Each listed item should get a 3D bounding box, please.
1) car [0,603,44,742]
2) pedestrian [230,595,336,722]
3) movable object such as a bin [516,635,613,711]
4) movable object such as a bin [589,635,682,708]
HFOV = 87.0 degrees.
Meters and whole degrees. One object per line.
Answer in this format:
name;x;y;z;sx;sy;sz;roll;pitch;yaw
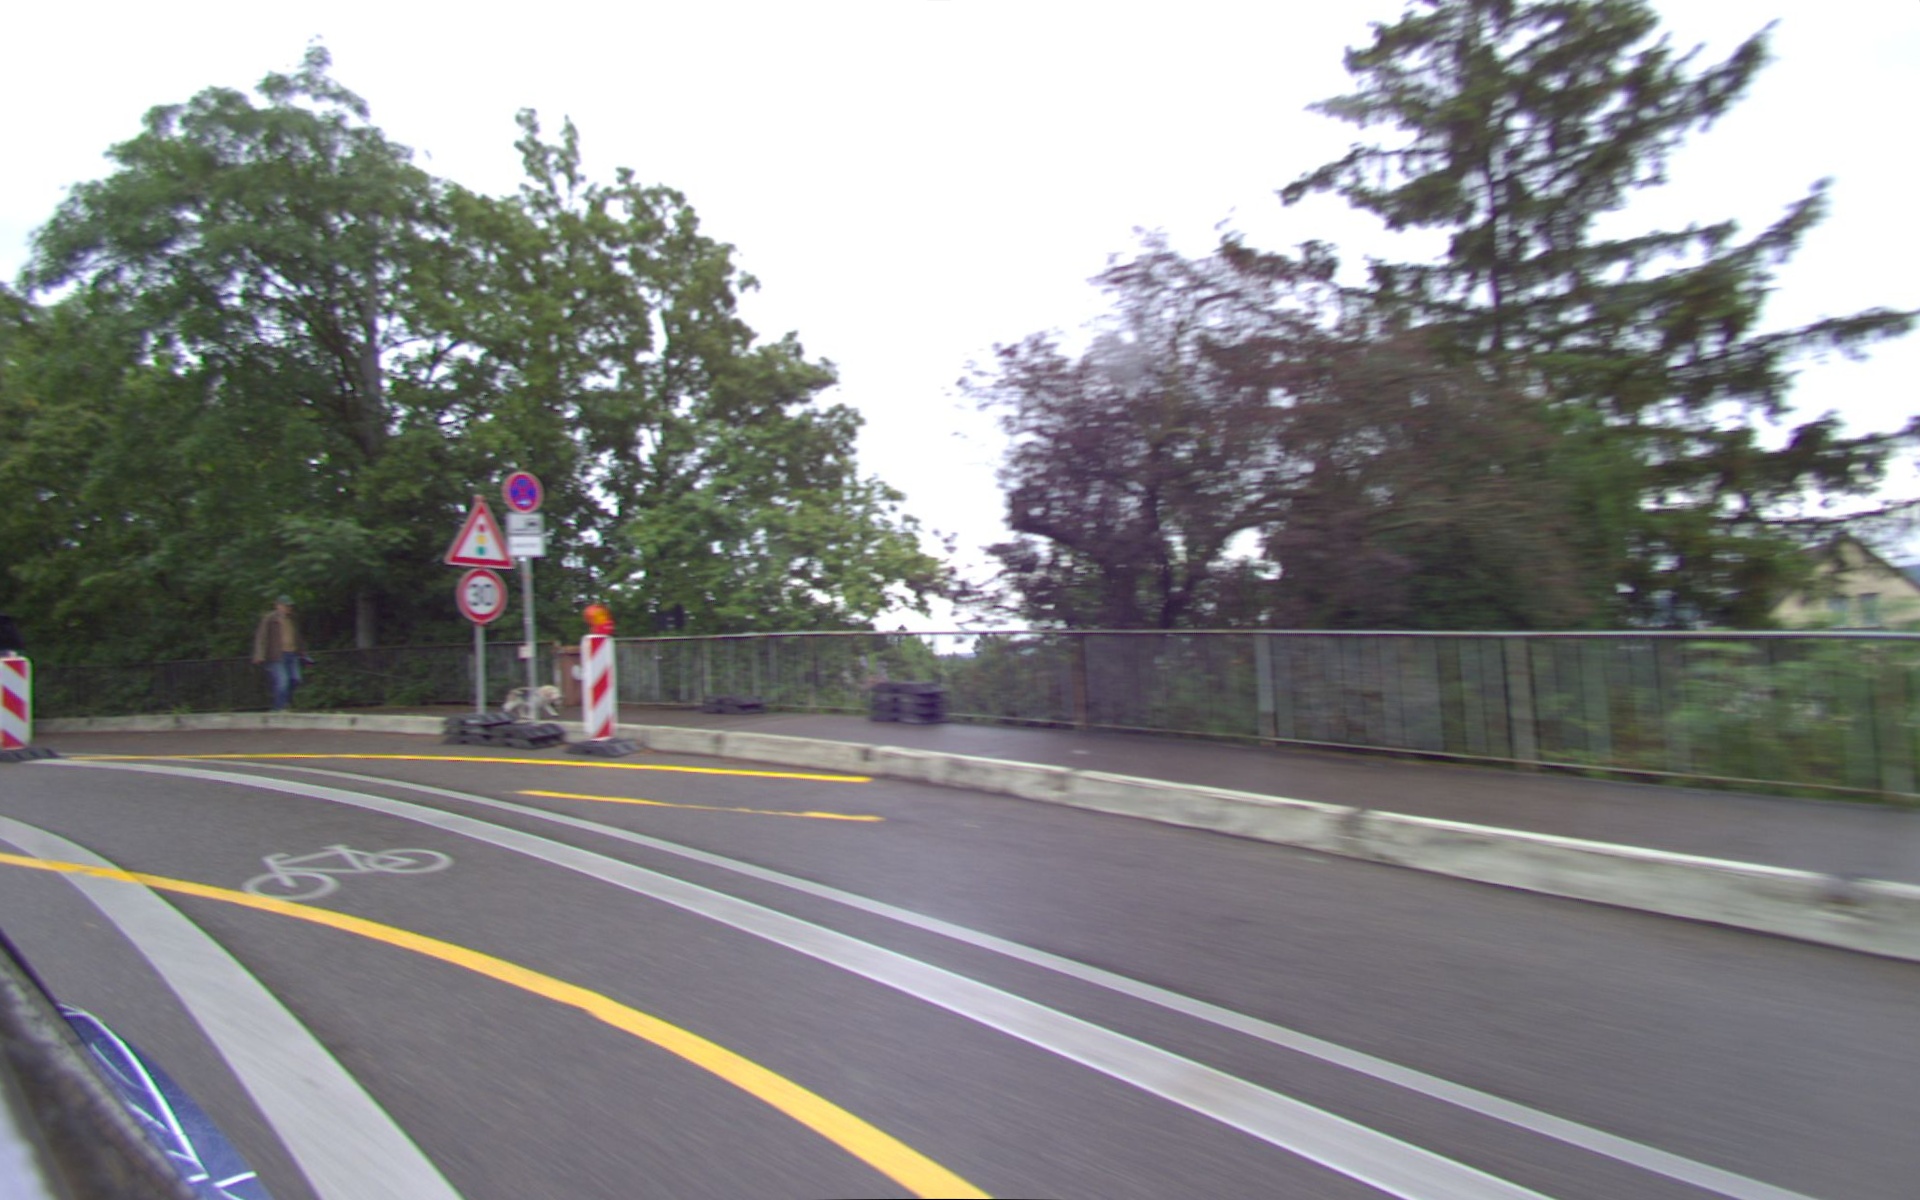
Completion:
car;-16.562;1.157;15.113;4.904;2.029;1.990;-2;-2;16
pedestrian;-9.952;0.849;14.885;0.974;1.781;0.918;-2;-2;23
movable object such as a bin;-6.086;1.103;15.593;1.024;1.115;0.978;-3;-3;33
movable object such as a bin;-5.212;1.144;16.263;1.024;1.115;0.978;-5;-4;33
